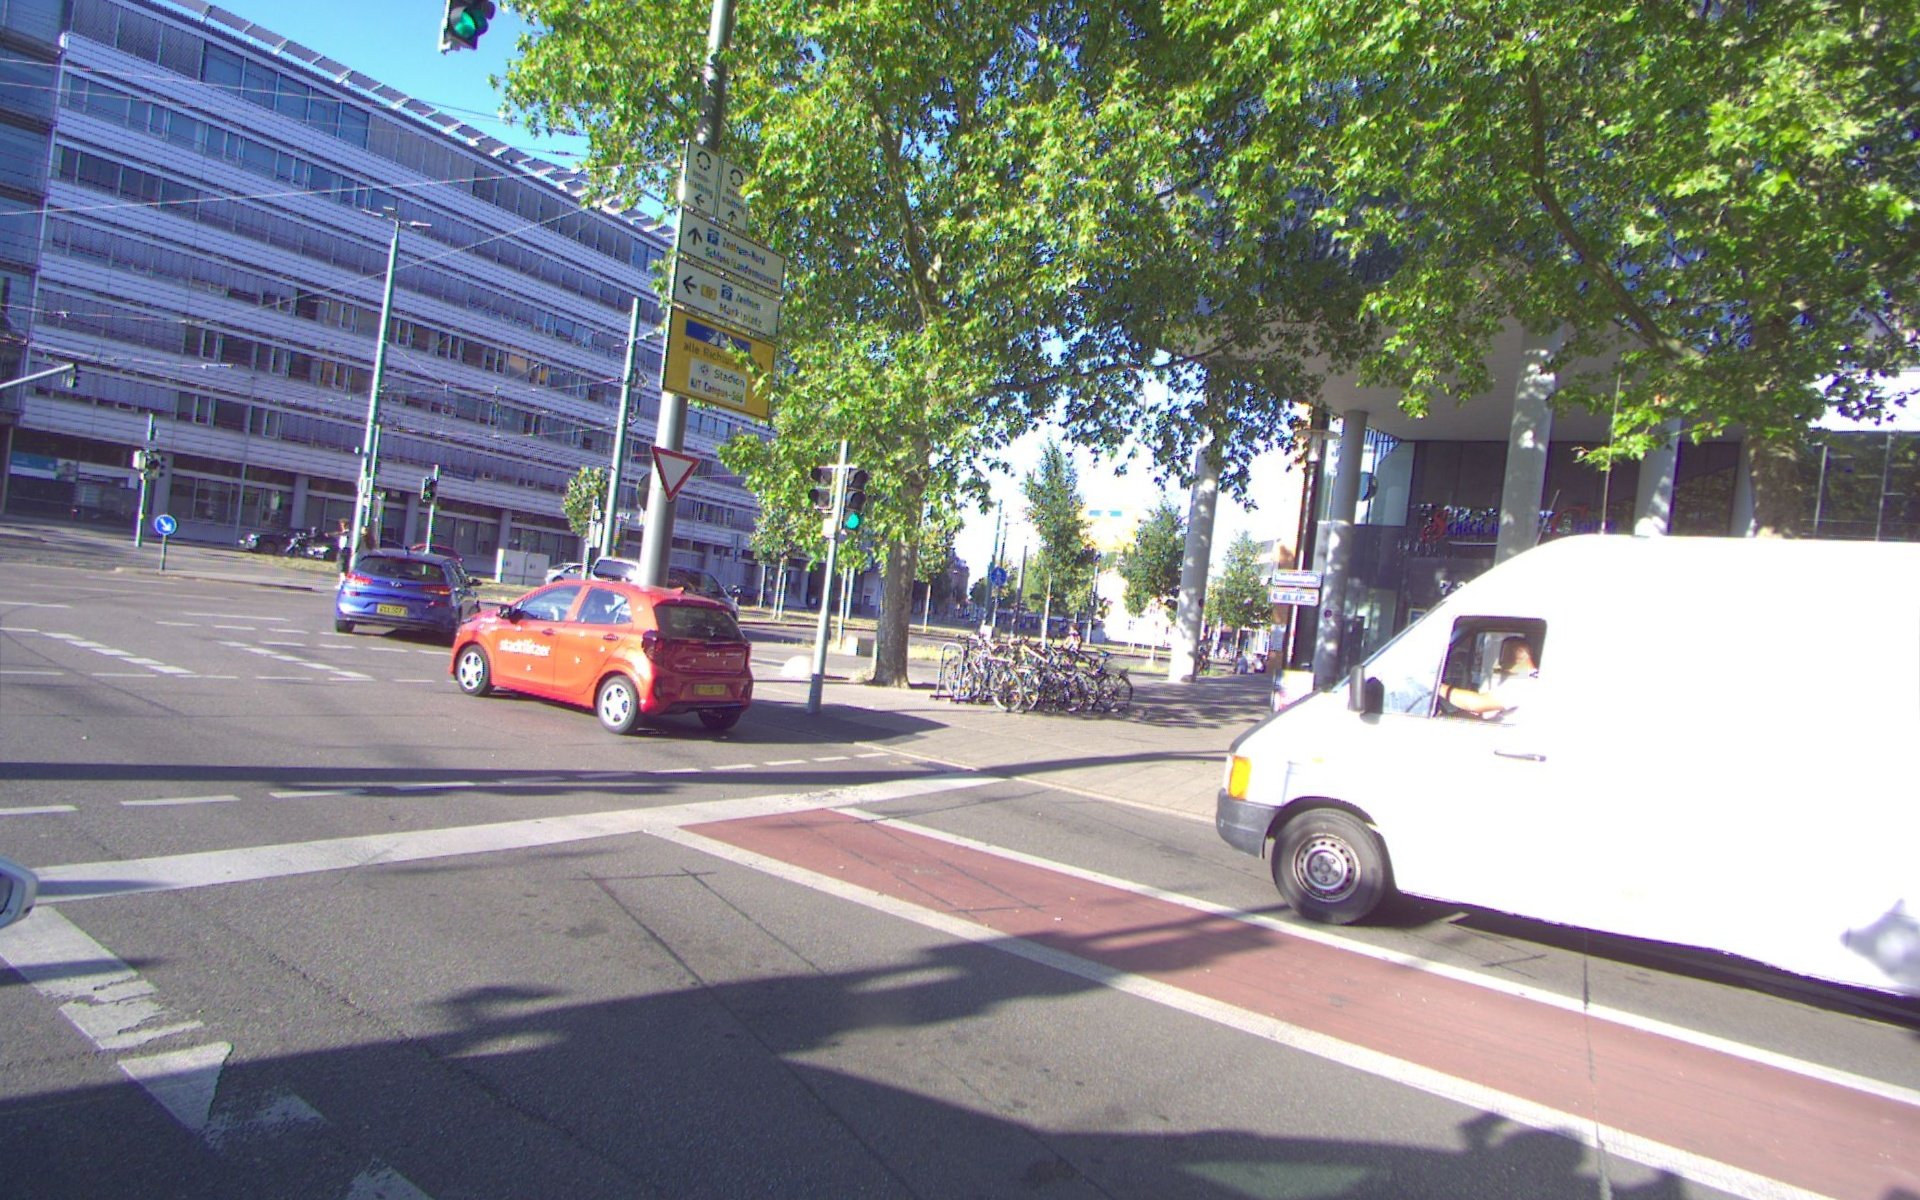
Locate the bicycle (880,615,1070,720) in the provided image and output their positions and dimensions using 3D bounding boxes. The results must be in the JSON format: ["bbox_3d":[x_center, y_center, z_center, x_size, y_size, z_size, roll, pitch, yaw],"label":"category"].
[{"bbox_3d":[0.192,1.024,15.716,2.896,1.252,0.705,6,-1,31],"label":"bicycle"}]

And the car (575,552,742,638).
[{"bbox_3d":[-8.529,-0.060,29.015,1.970,1.919,4.885,7,-1,18],"label":"car"}]

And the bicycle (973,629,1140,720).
[{"bbox_3d":[1.713,1.325,18.325,2.896,1.252,0.705,6,0,31],"label":"bicycle"}]

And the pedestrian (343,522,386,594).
[{"bbox_3d":[-15.729,-1.099,26.591,0.732,1.781,0.681,6,1,-24],"label":"pedestrian"}]

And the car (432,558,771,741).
[{"bbox_3d":[-4.035,0.502,11.201,3.536,1.476,1.493,7,-1,30],"label":"car"}]

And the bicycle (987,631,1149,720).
[{"bbox_3d":[2.010,1.401,19.012,2.896,1.250,0.698,6,-4,31],"label":"bicycle"}]

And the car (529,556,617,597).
[{"bbox_3d":[-21.025,-1.249,54.797,1.852,1.614,3.991,6,-2,35],"label":"car"}]

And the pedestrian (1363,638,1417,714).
[{"bbox_3d":[11.580,2.036,27.115,0.800,1.913,0.871,5,1,-16],"label":"pedestrian"}]

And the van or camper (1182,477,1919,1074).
[{"bbox_3d":[4.801,0.915,5.679,6.390,2.647,2.002,7,0,32],"label":"van or camper"}]

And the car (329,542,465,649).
[{"bbox_3d":[-9.880,-0.137,17.797,1.734,1.476,4.183,8,-1,-28],"label":"car"}]

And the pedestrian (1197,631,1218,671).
[{"bbox_3d":[10.575,2.193,43.023,0.540,1.612,0.595,7,0,32],"label":"pedestrian"}]

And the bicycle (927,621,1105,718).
[{"bbox_3d":[0.903,1.153,16.966,2.897,1.252,0.705,6,-1,32],"label":"bicycle"}]

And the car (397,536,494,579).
[{"bbox_3d":[-26.478,-2.186,51.889,1.769,1.569,3.990,6,-2,36],"label":"car"}]

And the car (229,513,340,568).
[{"bbox_3d":[-33.802,-2.967,50.434,1.967,2.037,3.995,6,-2,32],"label":"car"}]

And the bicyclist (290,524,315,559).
[{"bbox_3d":[-30.188,-2.690,46.207,0.604,1.521,0.663,7,1,37],"label":"bicyclist"}]

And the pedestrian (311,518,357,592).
[{"bbox_3d":[-15.998,-1.133,25.735,0.731,1.781,0.676,6,1,-21],"label":"pedestrian"}]

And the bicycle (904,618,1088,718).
[{"bbox_3d":[0.550,1.080,16.325,2.896,1.243,0.686,6,-1,31],"label":"bicycle"}]

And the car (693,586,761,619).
[{"bbox_3d":[-15.465,0.155,66.873,1.852,1.614,4.121,6,-2,35],"label":"car"}]

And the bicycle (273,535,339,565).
[{"bbox_3d":[-30.129,-2.284,46.372,0.627,1.035,2.409,7,0,36],"label":"bicycle"}]

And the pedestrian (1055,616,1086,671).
[{"bbox_3d":[3.422,1.342,31.135,0.569,1.612,0.595,7,0,32],"label":"pedestrian"}]

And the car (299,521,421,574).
[{"bbox_3d":[-27.114,-2.350,45.602,1.854,1.744,4.256,7,0,34],"label":"car"}]
